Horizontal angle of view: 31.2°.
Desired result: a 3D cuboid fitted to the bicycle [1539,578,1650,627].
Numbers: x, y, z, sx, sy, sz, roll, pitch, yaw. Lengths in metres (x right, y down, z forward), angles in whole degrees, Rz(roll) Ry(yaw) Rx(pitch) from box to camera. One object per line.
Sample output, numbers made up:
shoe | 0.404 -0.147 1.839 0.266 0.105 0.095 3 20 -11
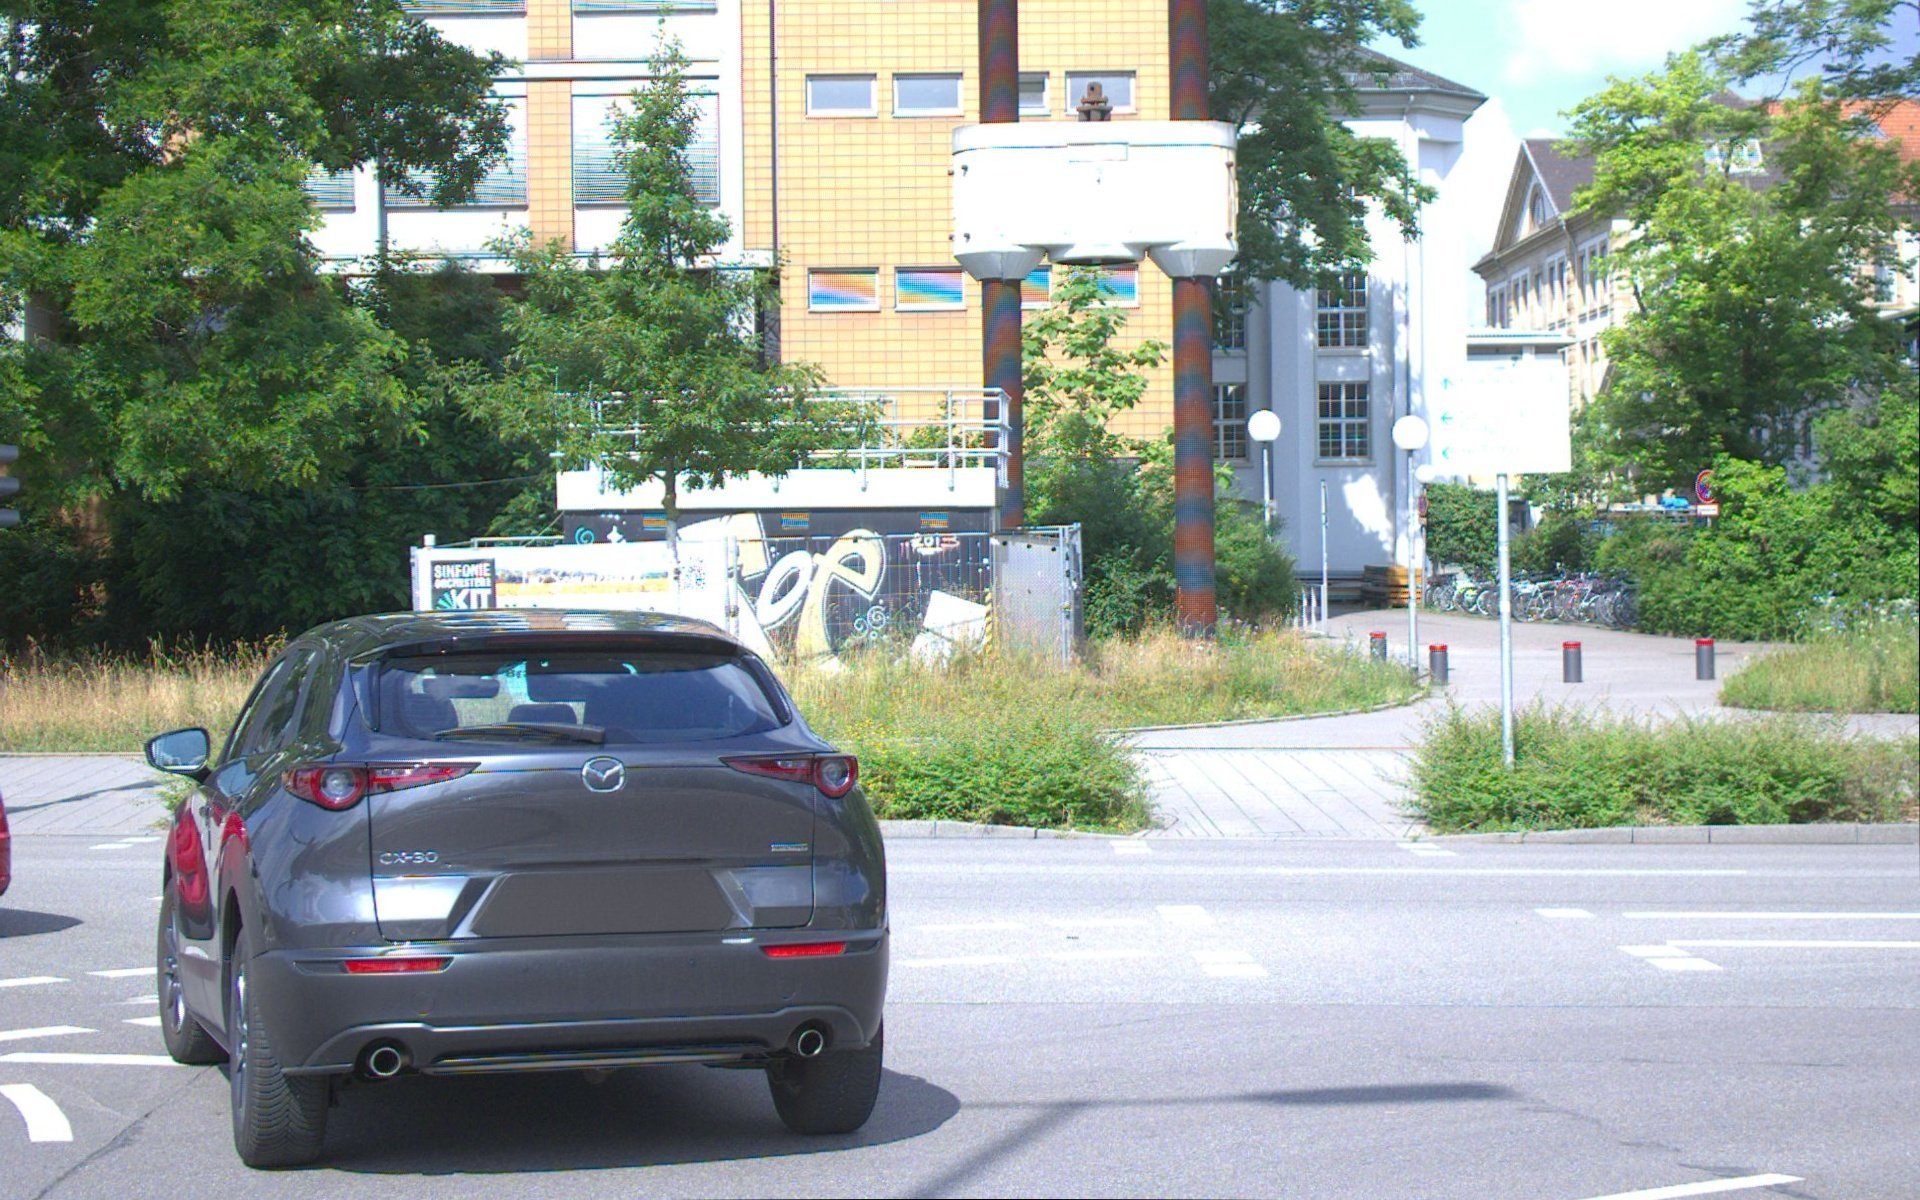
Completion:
bicycle | 12.703 0.051 68.852 2.055 0.933 0.804 -1 0 0

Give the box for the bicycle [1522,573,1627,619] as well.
bicycle | 13.011 -0.093 72.824 2.055 0.933 0.804 -1 0 0

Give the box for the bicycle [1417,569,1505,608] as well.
bicycle | 12.505 -0.285 85.905 2.055 0.933 0.804 -1 0 0

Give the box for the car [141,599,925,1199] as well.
car | -1.539 0.798 10.744 1.805 1.503 4.206 -1 -1 -16

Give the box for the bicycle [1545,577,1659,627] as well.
bicycle | 12.558 0.037 67.278 2.055 0.933 0.804 -1 0 0

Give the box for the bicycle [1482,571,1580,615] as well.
bicycle | 12.825 -0.159 77.305 2.055 0.933 0.804 -1 0 0

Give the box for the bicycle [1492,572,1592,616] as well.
bicycle | 12.909 -0.142 76.299 2.055 0.933 0.804 -1 0 0

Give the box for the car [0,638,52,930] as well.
car | -6.536 0.914 18.041 1.817 1.434 4.065 1 -1 -41

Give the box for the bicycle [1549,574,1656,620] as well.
bicycle | 13.352 -0.067 71.486 2.055 0.933 0.804 -1 0 0

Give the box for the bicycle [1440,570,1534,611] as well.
bicycle | 12.416 -0.219 81.046 2.055 0.933 0.804 -1 0 0
